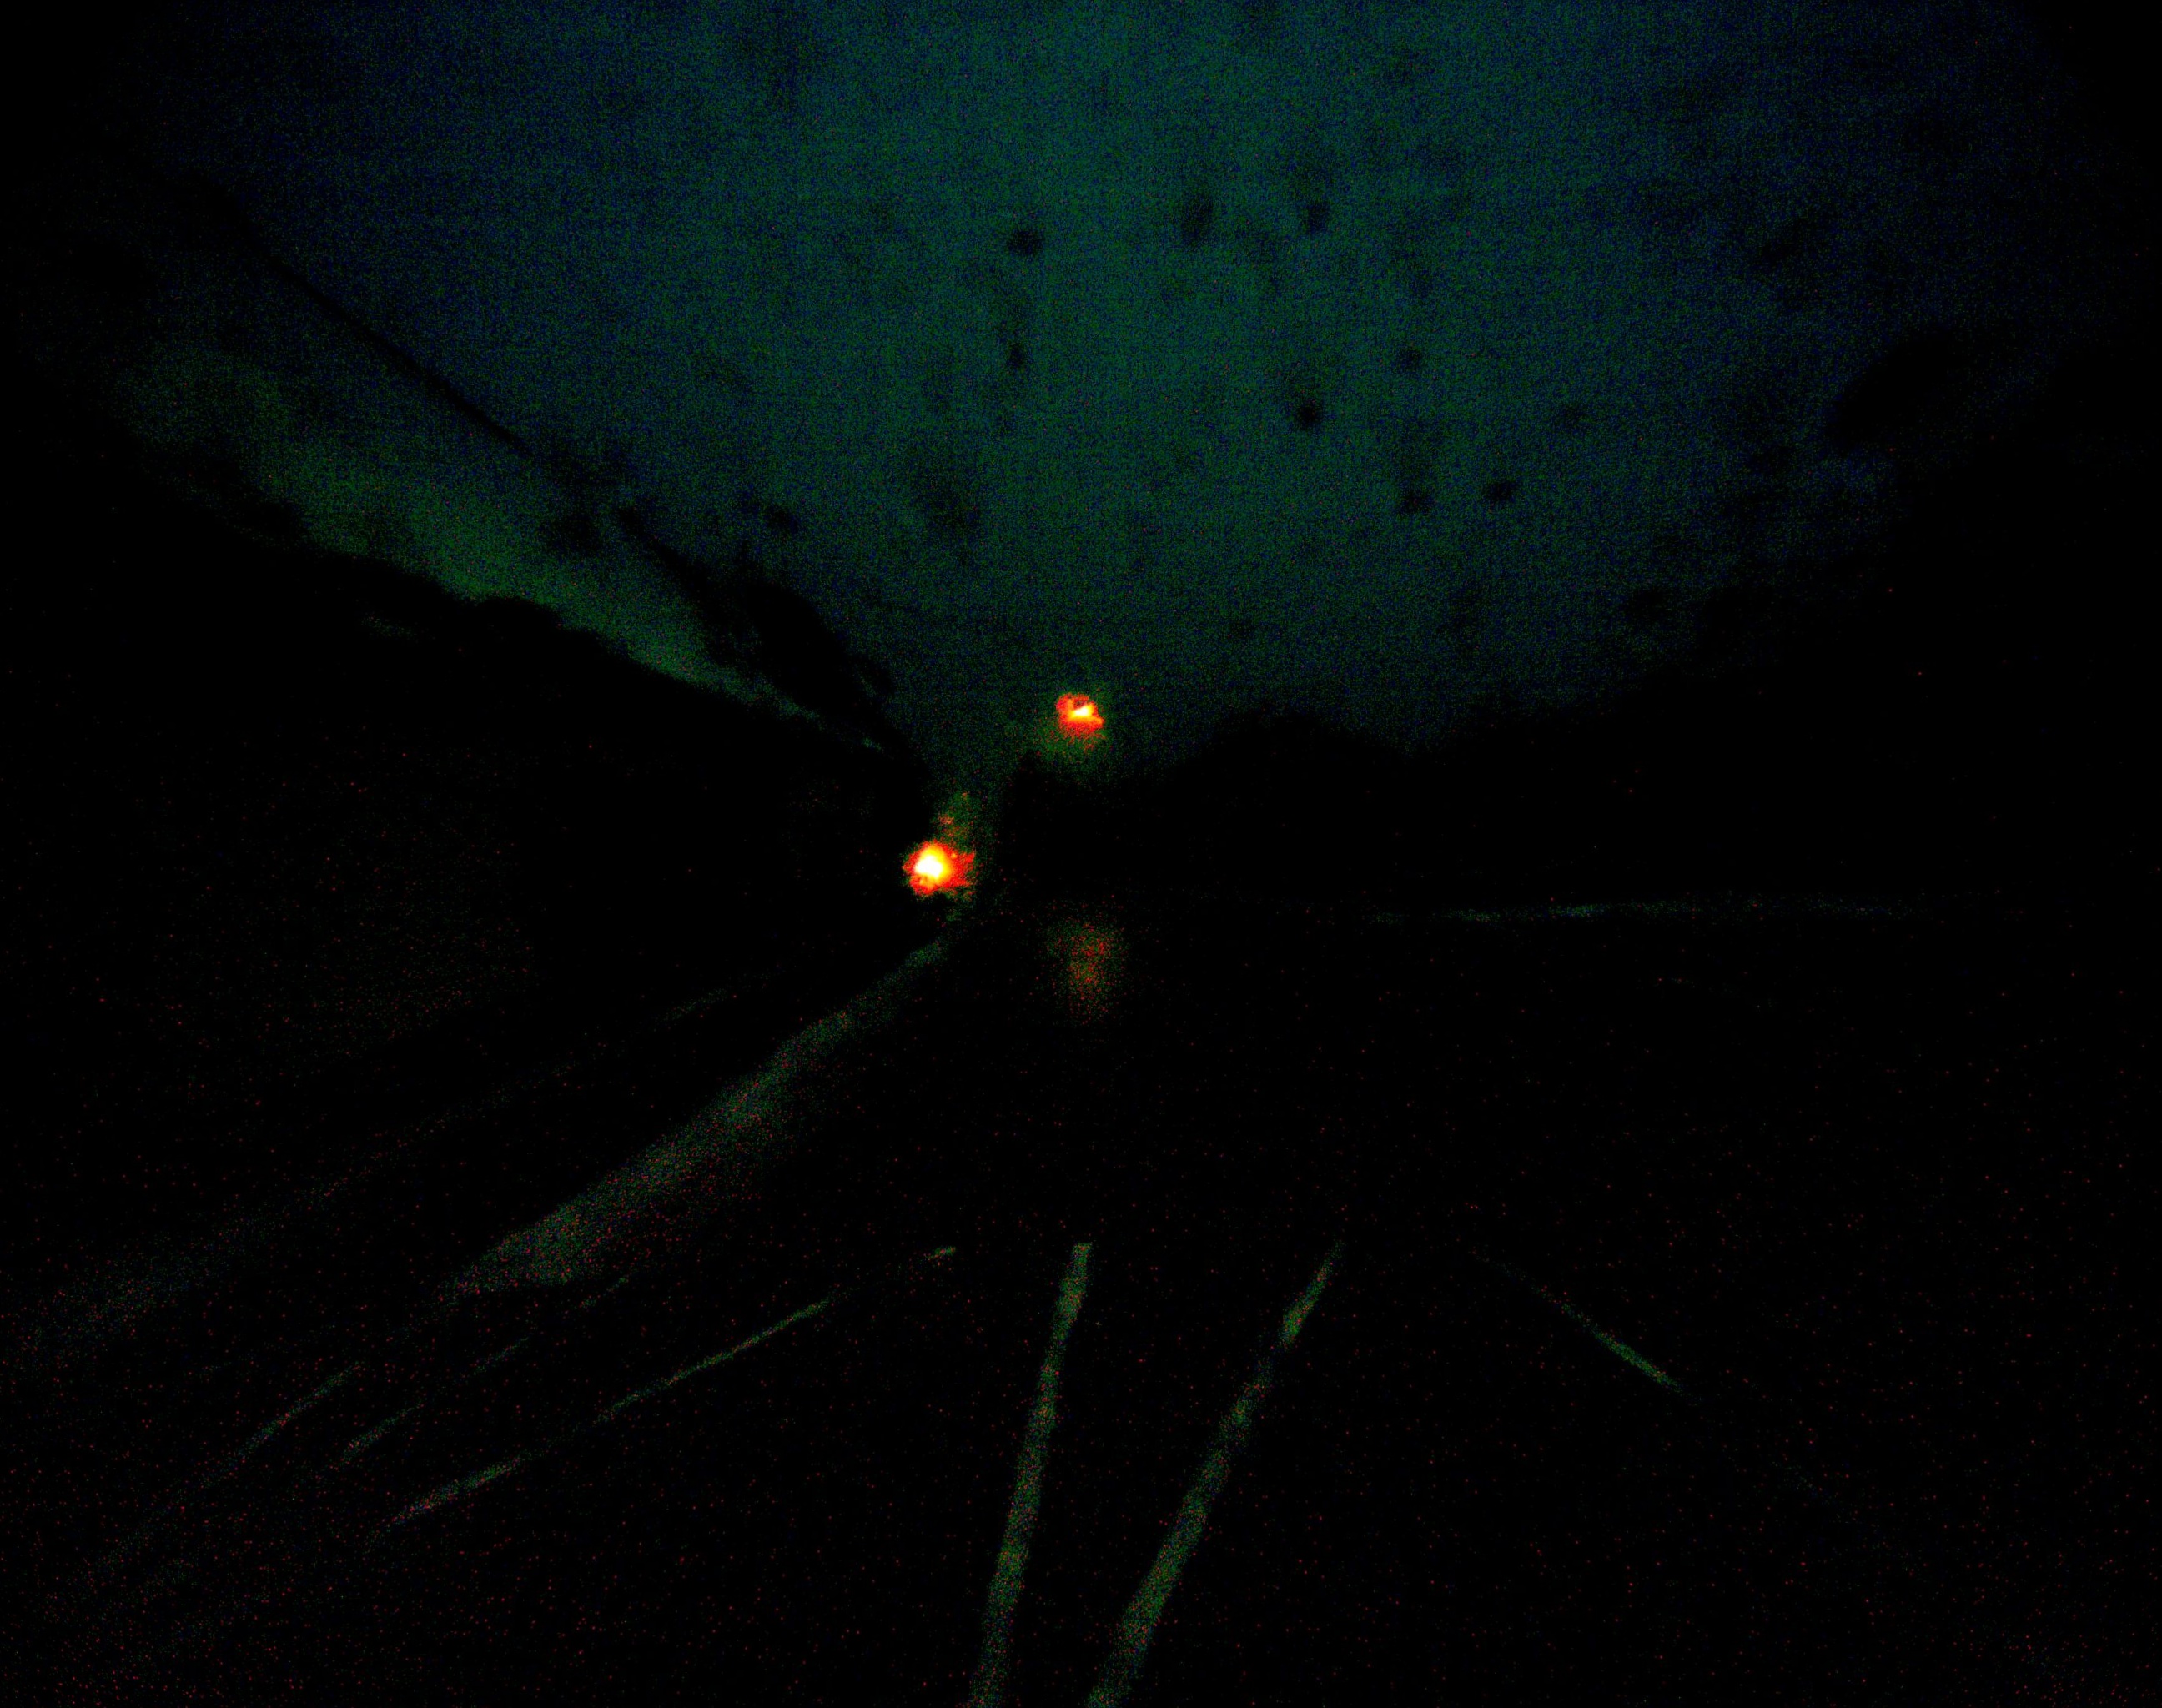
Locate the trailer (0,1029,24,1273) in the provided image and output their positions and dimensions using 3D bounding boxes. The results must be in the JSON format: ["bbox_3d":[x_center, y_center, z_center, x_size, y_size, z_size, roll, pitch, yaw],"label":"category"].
[{"bbox_3d":[-4.271,1.195,0.929,1.551,0.940,3.992,0,1,-22],"label":"trailer"}]
